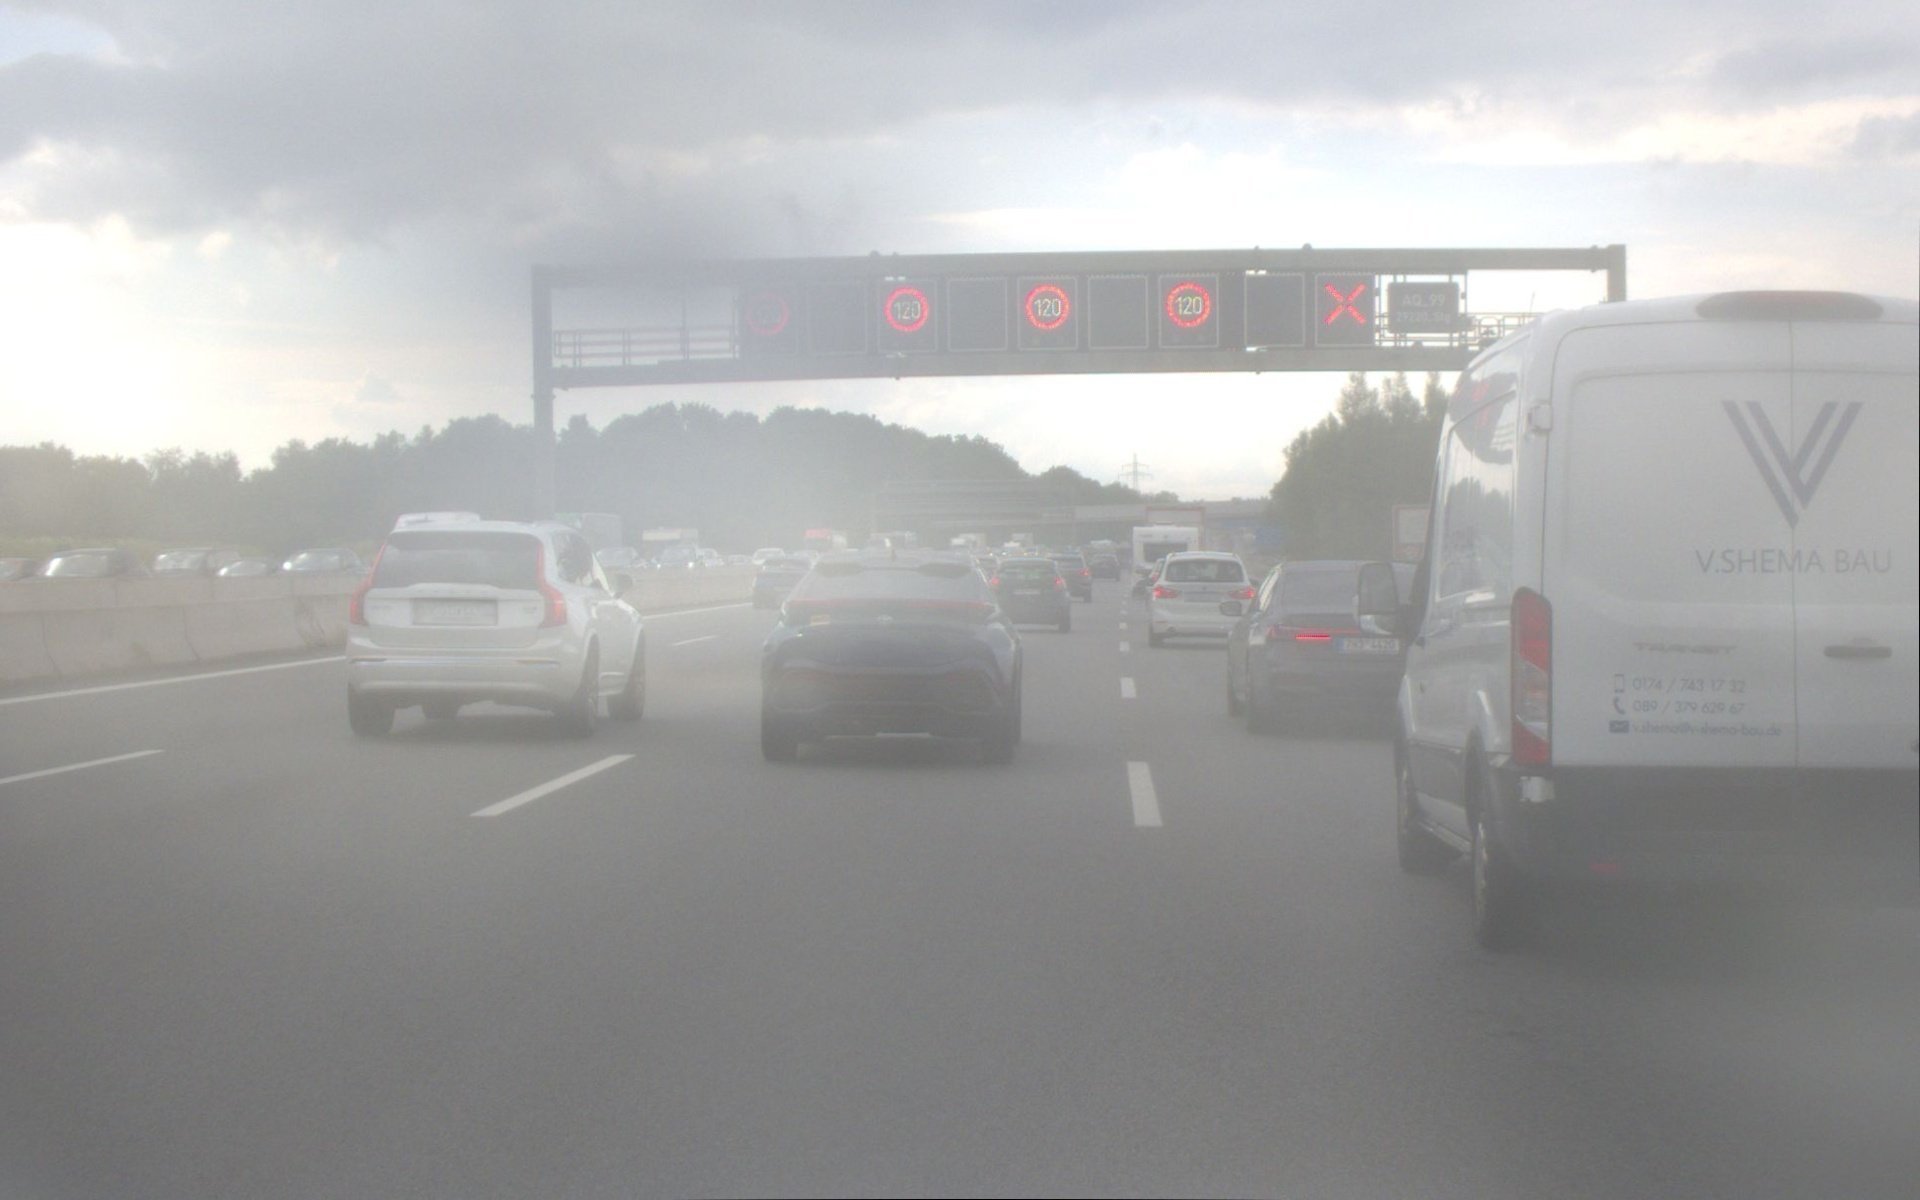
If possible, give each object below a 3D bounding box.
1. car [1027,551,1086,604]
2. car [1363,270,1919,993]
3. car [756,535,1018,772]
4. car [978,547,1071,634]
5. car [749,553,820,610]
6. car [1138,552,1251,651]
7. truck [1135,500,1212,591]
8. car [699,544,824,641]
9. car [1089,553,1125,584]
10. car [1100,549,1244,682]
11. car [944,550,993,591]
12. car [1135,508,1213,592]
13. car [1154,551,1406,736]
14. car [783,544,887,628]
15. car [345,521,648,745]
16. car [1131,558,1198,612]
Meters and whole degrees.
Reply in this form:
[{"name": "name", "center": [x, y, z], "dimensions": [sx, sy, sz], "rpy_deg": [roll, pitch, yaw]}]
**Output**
[{"name": "car", "center": [3.151, -0.745, 111.829], "dimensions": [1.881, 1.680, 4.000], "rpy_deg": [1, 1, 2]}, {"name": "car", "center": [3.007, 0.086, 14.658], "dimensions": [2.140, 2.492, 5.447], "rpy_deg": [1, 1, 3]}, {"name": "car", "center": [-0.526, 0.346, 25.954], "dimensions": [1.781, 1.607, 4.598], "rpy_deg": [1, 1, -1]}, {"name": "car", "center": [1.319, -0.201, 68.874], "dimensions": [1.770, 1.680, 4.000], "rpy_deg": [1, 1, 2]}, {"name": "car", "center": [-4.713, -0.504, 92.763], "dimensions": [1.563, 1.472, 3.919], "rpy_deg": [1, 1, 2]}, {"name": "car", "center": [3.961, 0.005, 58.626], "dimensions": [1.810, 1.593, 4.695], "rpy_deg": [1, 1, 3]}, {"name": "truck", "center": [9.156, -2.298, 147.250], "dimensions": [3.133, 3.697, 9.846], "rpy_deg": [1, 1, 4]}, {"name": "car", "center": [-3.547, -0.161, 62.092], "dimensions": [1.881, 1.680, 4.000], "rpy_deg": [0, 1, 2]}, {"name": "car", "center": [8.151, -1.744, 190.834], "dimensions": [1.881, 1.680, 4.000], "rpy_deg": [1, 1, 1]}, {"name": "car", "center": [2.824, 0.171, 45.080], "dimensions": [1.707, 1.625, 4.456], "rpy_deg": [1, 1, 6]}, {"name": "car", "center": [0.369, -1.248, 143.983], "dimensions": [1.881, 1.680, 4.000], "rpy_deg": [1, 1, 2]}, {"name": "car", "center": [7.598, -1.773, 122.687], "dimensions": [2.567, 2.885, 7.533], "rpy_deg": [1, 1, 2]}, {"name": "car", "center": [2.751, 0.330, 30.552], "dimensions": [1.940, 1.486, 4.775], "rpy_deg": [1, 1, 2]}, {"name": "car", "center": [-2.584, -0.301, 71.978], "dimensions": [1.881, 1.680, 4.000], "rpy_deg": [1, 1, 2]}, {"name": "car", "center": [-3.798, 0.233, 28.866], "dimensions": [1.781, 1.710, 4.352], "rpy_deg": [1, 1, 2]}, {"name": "car", "center": [5.738, -0.432, 96.260], "dimensions": [1.795, 1.472, 4.037], "rpy_deg": [1, 1, 4]}]
